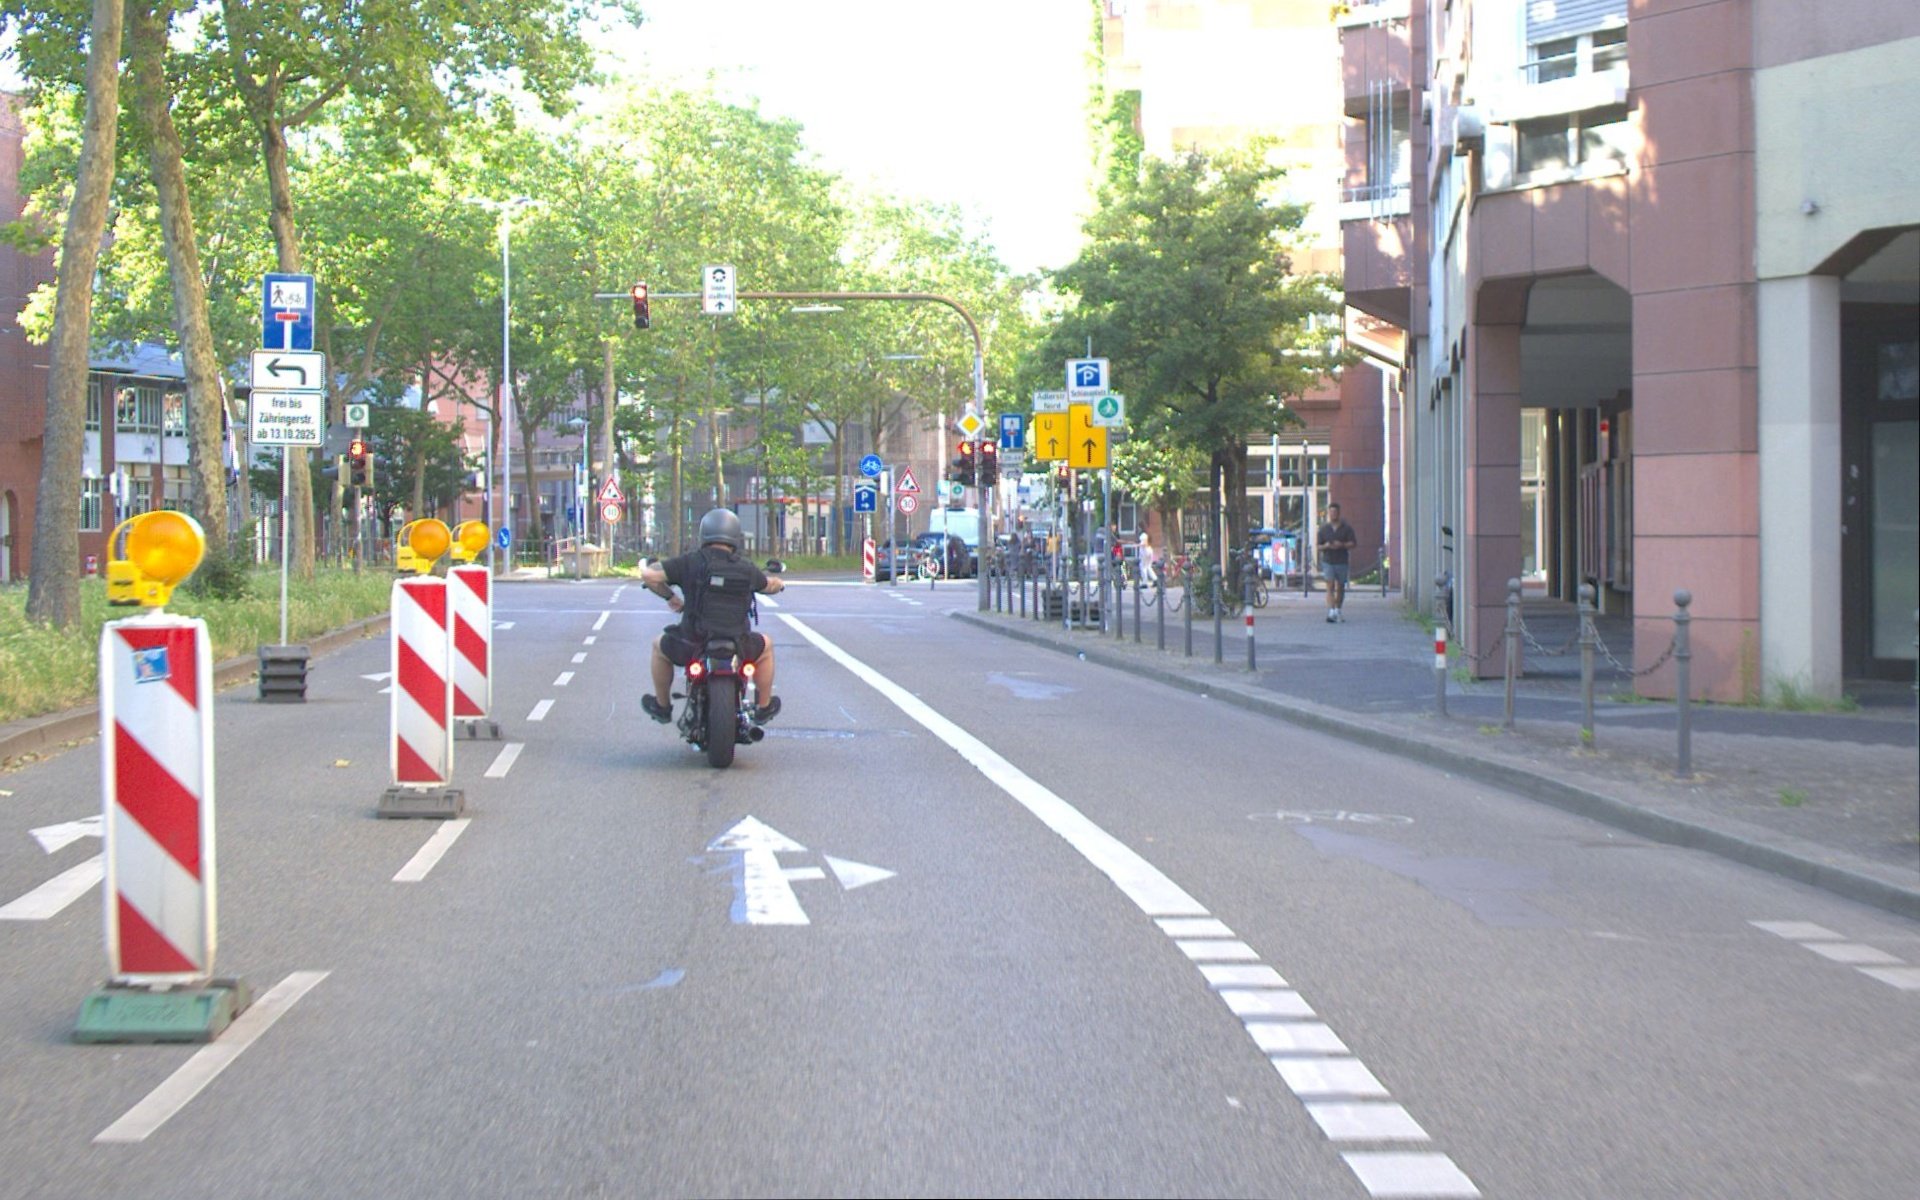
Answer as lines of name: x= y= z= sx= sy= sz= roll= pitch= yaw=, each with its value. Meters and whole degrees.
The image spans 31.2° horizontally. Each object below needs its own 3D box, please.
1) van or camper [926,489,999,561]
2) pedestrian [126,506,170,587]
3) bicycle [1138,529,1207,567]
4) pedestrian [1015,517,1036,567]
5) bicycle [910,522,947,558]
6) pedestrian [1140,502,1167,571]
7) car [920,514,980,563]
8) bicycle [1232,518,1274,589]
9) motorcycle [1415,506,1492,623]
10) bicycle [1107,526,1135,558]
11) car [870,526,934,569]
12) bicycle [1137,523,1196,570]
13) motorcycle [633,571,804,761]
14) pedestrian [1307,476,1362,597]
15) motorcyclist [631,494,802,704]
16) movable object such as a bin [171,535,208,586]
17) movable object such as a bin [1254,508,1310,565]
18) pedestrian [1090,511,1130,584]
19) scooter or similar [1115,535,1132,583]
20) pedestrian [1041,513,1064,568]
van or camper: x=0.116 y=-2.697 z=123.703 sx=2.049 sy=2.532 sz=5.772 roll=0 pitch=1 yaw=6
pedestrian: x=-15.052 y=-1.002 z=63.749 sx=0.618 sy=1.498 sz=0.534 roll=0 pitch=1 yaw=13
bicycle: x=5.865 y=-1.442 z=94.861 sx=1.748 sy=1.049 sz=0.738 roll=0 pitch=1 yaw=24
pedestrian: x=2.064 y=-1.816 z=107.996 sx=0.644 sy=1.573 sz=0.748 roll=0 pitch=1 yaw=0
bicycle: x=-0.923 y=-1.750 z=100.208 sx=0.737 sy=1.049 sz=1.753 roll=0 pitch=1 yaw=-13
pedestrian: x=4.673 y=-1.531 z=83.079 sx=0.459 sy=1.667 sz=0.680 roll=-1 pitch=1 yaw=-13
car: x=-0.321 y=-2.105 z=117.259 sx=1.620 sy=1.614 sz=4.484 roll=0 pitch=1 yaw=5
bicycle: x=5.141 y=-0.818 z=60.291 sx=0.622 sy=1.221 sz=1.926 roll=0 pitch=1 yaw=8
motorcycle: x=5.942 y=-0.446 z=41.476 sx=0.488 sy=1.367 sz=2.091 roll=0 pitch=1 yaw=-4
bicycle: x=4.675 y=-1.686 z=99.752 sx=0.737 sy=0.936 sz=1.752 roll=0 pitch=1 yaw=0
car: x=-1.791 y=-1.649 z=107.335 sx=1.620 sy=1.298 sz=4.311 roll=0 pitch=1 yaw=4
bicycle: x=5.494 y=-1.427 z=91.592 sx=1.567 sy=1.223 sz=0.578 roll=0 pitch=1 yaw=2
motorcycle: x=-1.521 y=0.386 z=21.529 sx=1.018 sy=1.093 sz=2.008 roll=0 pitch=2 yaw=-5
pedestrian: x=5.440 y=-0.927 z=49.968 sx=0.781 sy=1.732 sz=0.837 roll=0 pitch=1 yaw=5
motorcyclist: x=-1.535 y=-0.016 z=21.613 sx=1.011 sy=1.258 sz=0.774 roll=2 pitch=1 yaw=-4
movable object such as a bin: x=-14.346 y=-0.740 z=64.031 sx=0.510 sy=0.950 sz=0.539 roll=0 pitch=1 yaw=9
movable object such as a bin: x=8.339 y=-1.649 z=88.893 sx=1.410 sy=1.477 sz=0.871 roll=0 pitch=1 yaw=8
pedestrian: x=3.627 y=-1.277 z=83.299 sx=0.785 sy=1.757 sz=0.610 roll=-1 pitch=1 yaw=-21
scooter or similar: x=3.960 y=-0.994 z=83.229 sx=0.394 sy=1.154 sz=1.249 roll=0 pitch=1 yaw=2
pedestrian: x=2.902 y=-1.862 z=107.937 sx=0.700 sy=1.727 sz=0.768 roll=0 pitch=1 yaw=0
